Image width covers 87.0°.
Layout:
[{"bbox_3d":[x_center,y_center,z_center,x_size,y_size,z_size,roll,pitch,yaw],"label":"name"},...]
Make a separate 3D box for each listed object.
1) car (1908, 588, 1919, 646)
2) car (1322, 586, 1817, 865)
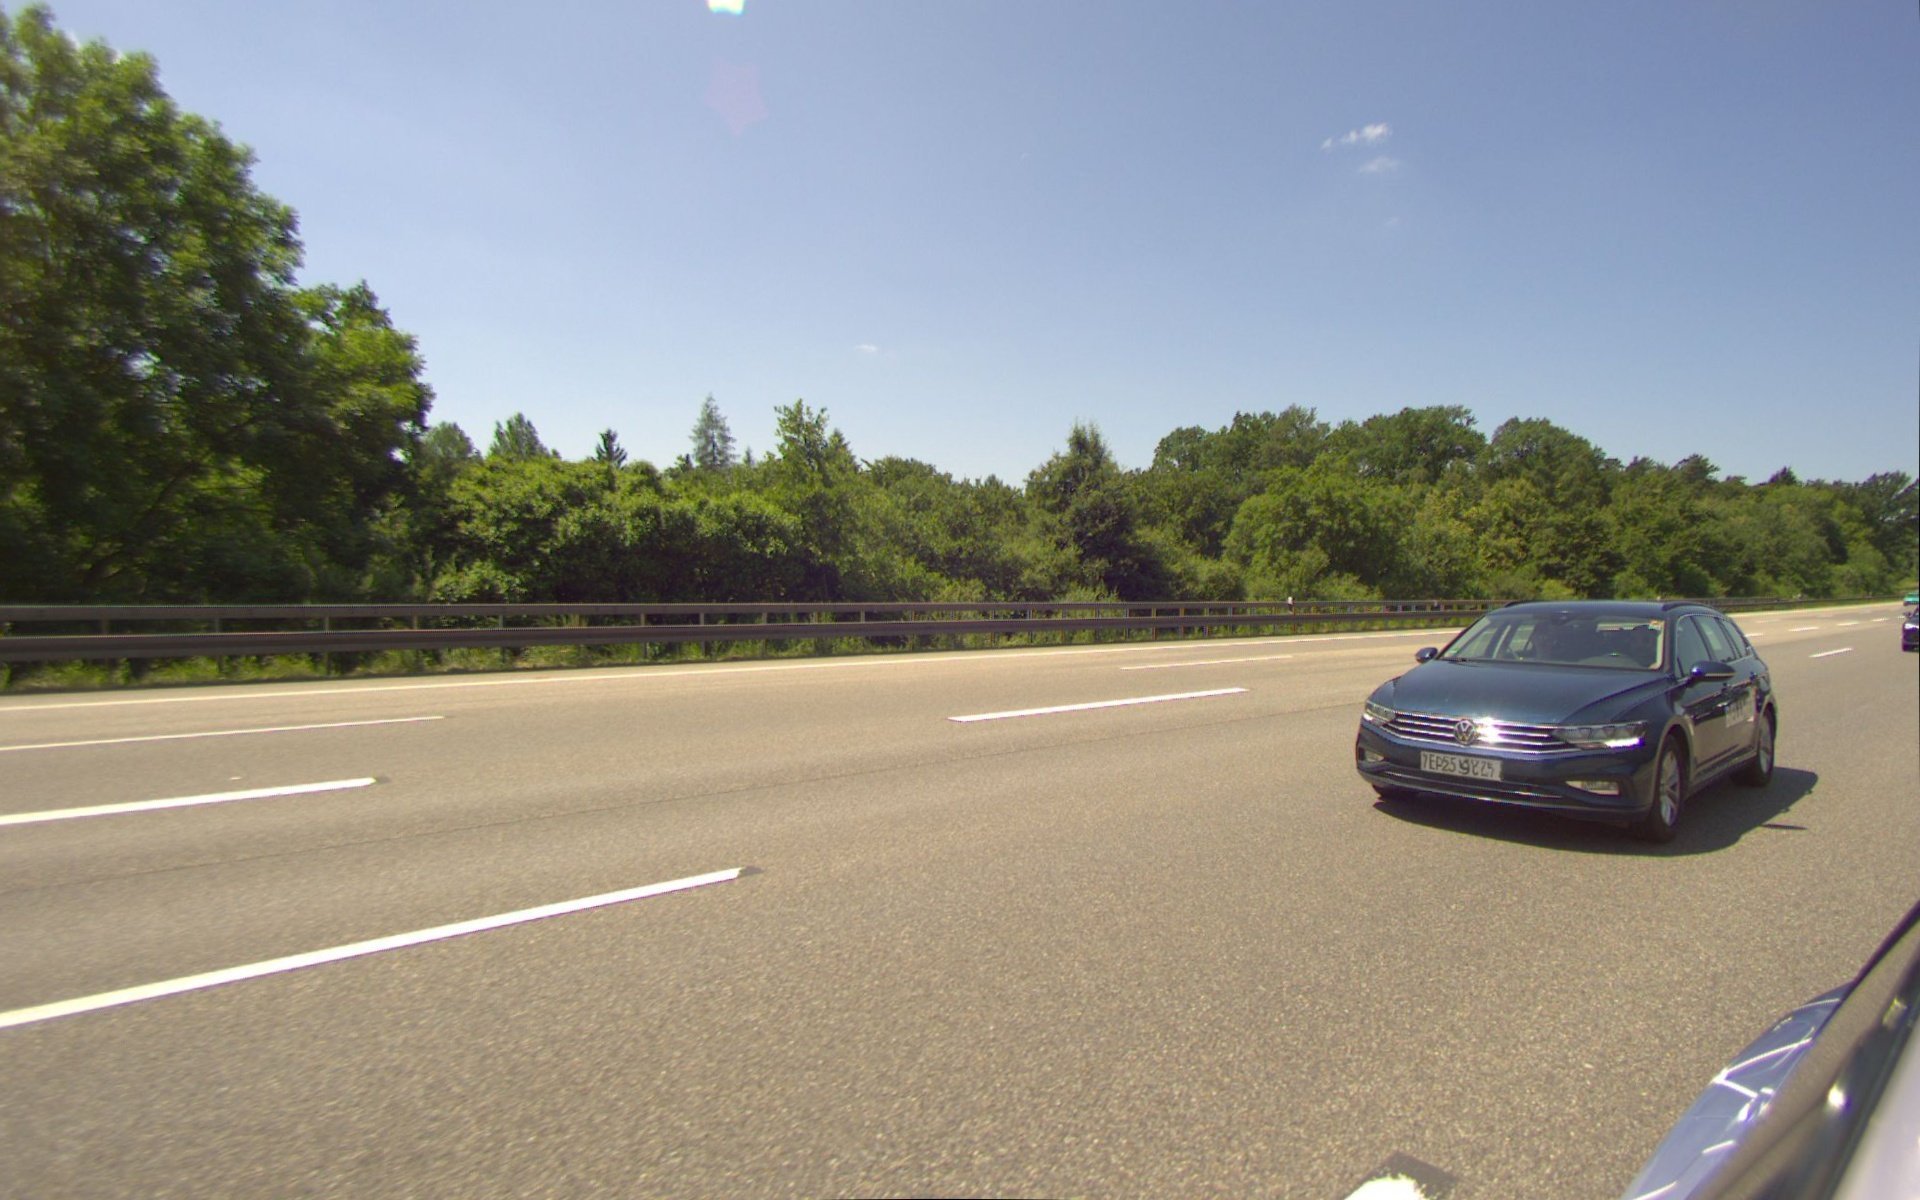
[{"bbox_3d":[27.214,0.459,27.378,4.131,1.480,1.833,-1,4,-41],"label":"car"},{"bbox_3d":[4.793,0.635,7.584,4.874,1.465,1.733,-1,0,-40],"label":"car"}]
